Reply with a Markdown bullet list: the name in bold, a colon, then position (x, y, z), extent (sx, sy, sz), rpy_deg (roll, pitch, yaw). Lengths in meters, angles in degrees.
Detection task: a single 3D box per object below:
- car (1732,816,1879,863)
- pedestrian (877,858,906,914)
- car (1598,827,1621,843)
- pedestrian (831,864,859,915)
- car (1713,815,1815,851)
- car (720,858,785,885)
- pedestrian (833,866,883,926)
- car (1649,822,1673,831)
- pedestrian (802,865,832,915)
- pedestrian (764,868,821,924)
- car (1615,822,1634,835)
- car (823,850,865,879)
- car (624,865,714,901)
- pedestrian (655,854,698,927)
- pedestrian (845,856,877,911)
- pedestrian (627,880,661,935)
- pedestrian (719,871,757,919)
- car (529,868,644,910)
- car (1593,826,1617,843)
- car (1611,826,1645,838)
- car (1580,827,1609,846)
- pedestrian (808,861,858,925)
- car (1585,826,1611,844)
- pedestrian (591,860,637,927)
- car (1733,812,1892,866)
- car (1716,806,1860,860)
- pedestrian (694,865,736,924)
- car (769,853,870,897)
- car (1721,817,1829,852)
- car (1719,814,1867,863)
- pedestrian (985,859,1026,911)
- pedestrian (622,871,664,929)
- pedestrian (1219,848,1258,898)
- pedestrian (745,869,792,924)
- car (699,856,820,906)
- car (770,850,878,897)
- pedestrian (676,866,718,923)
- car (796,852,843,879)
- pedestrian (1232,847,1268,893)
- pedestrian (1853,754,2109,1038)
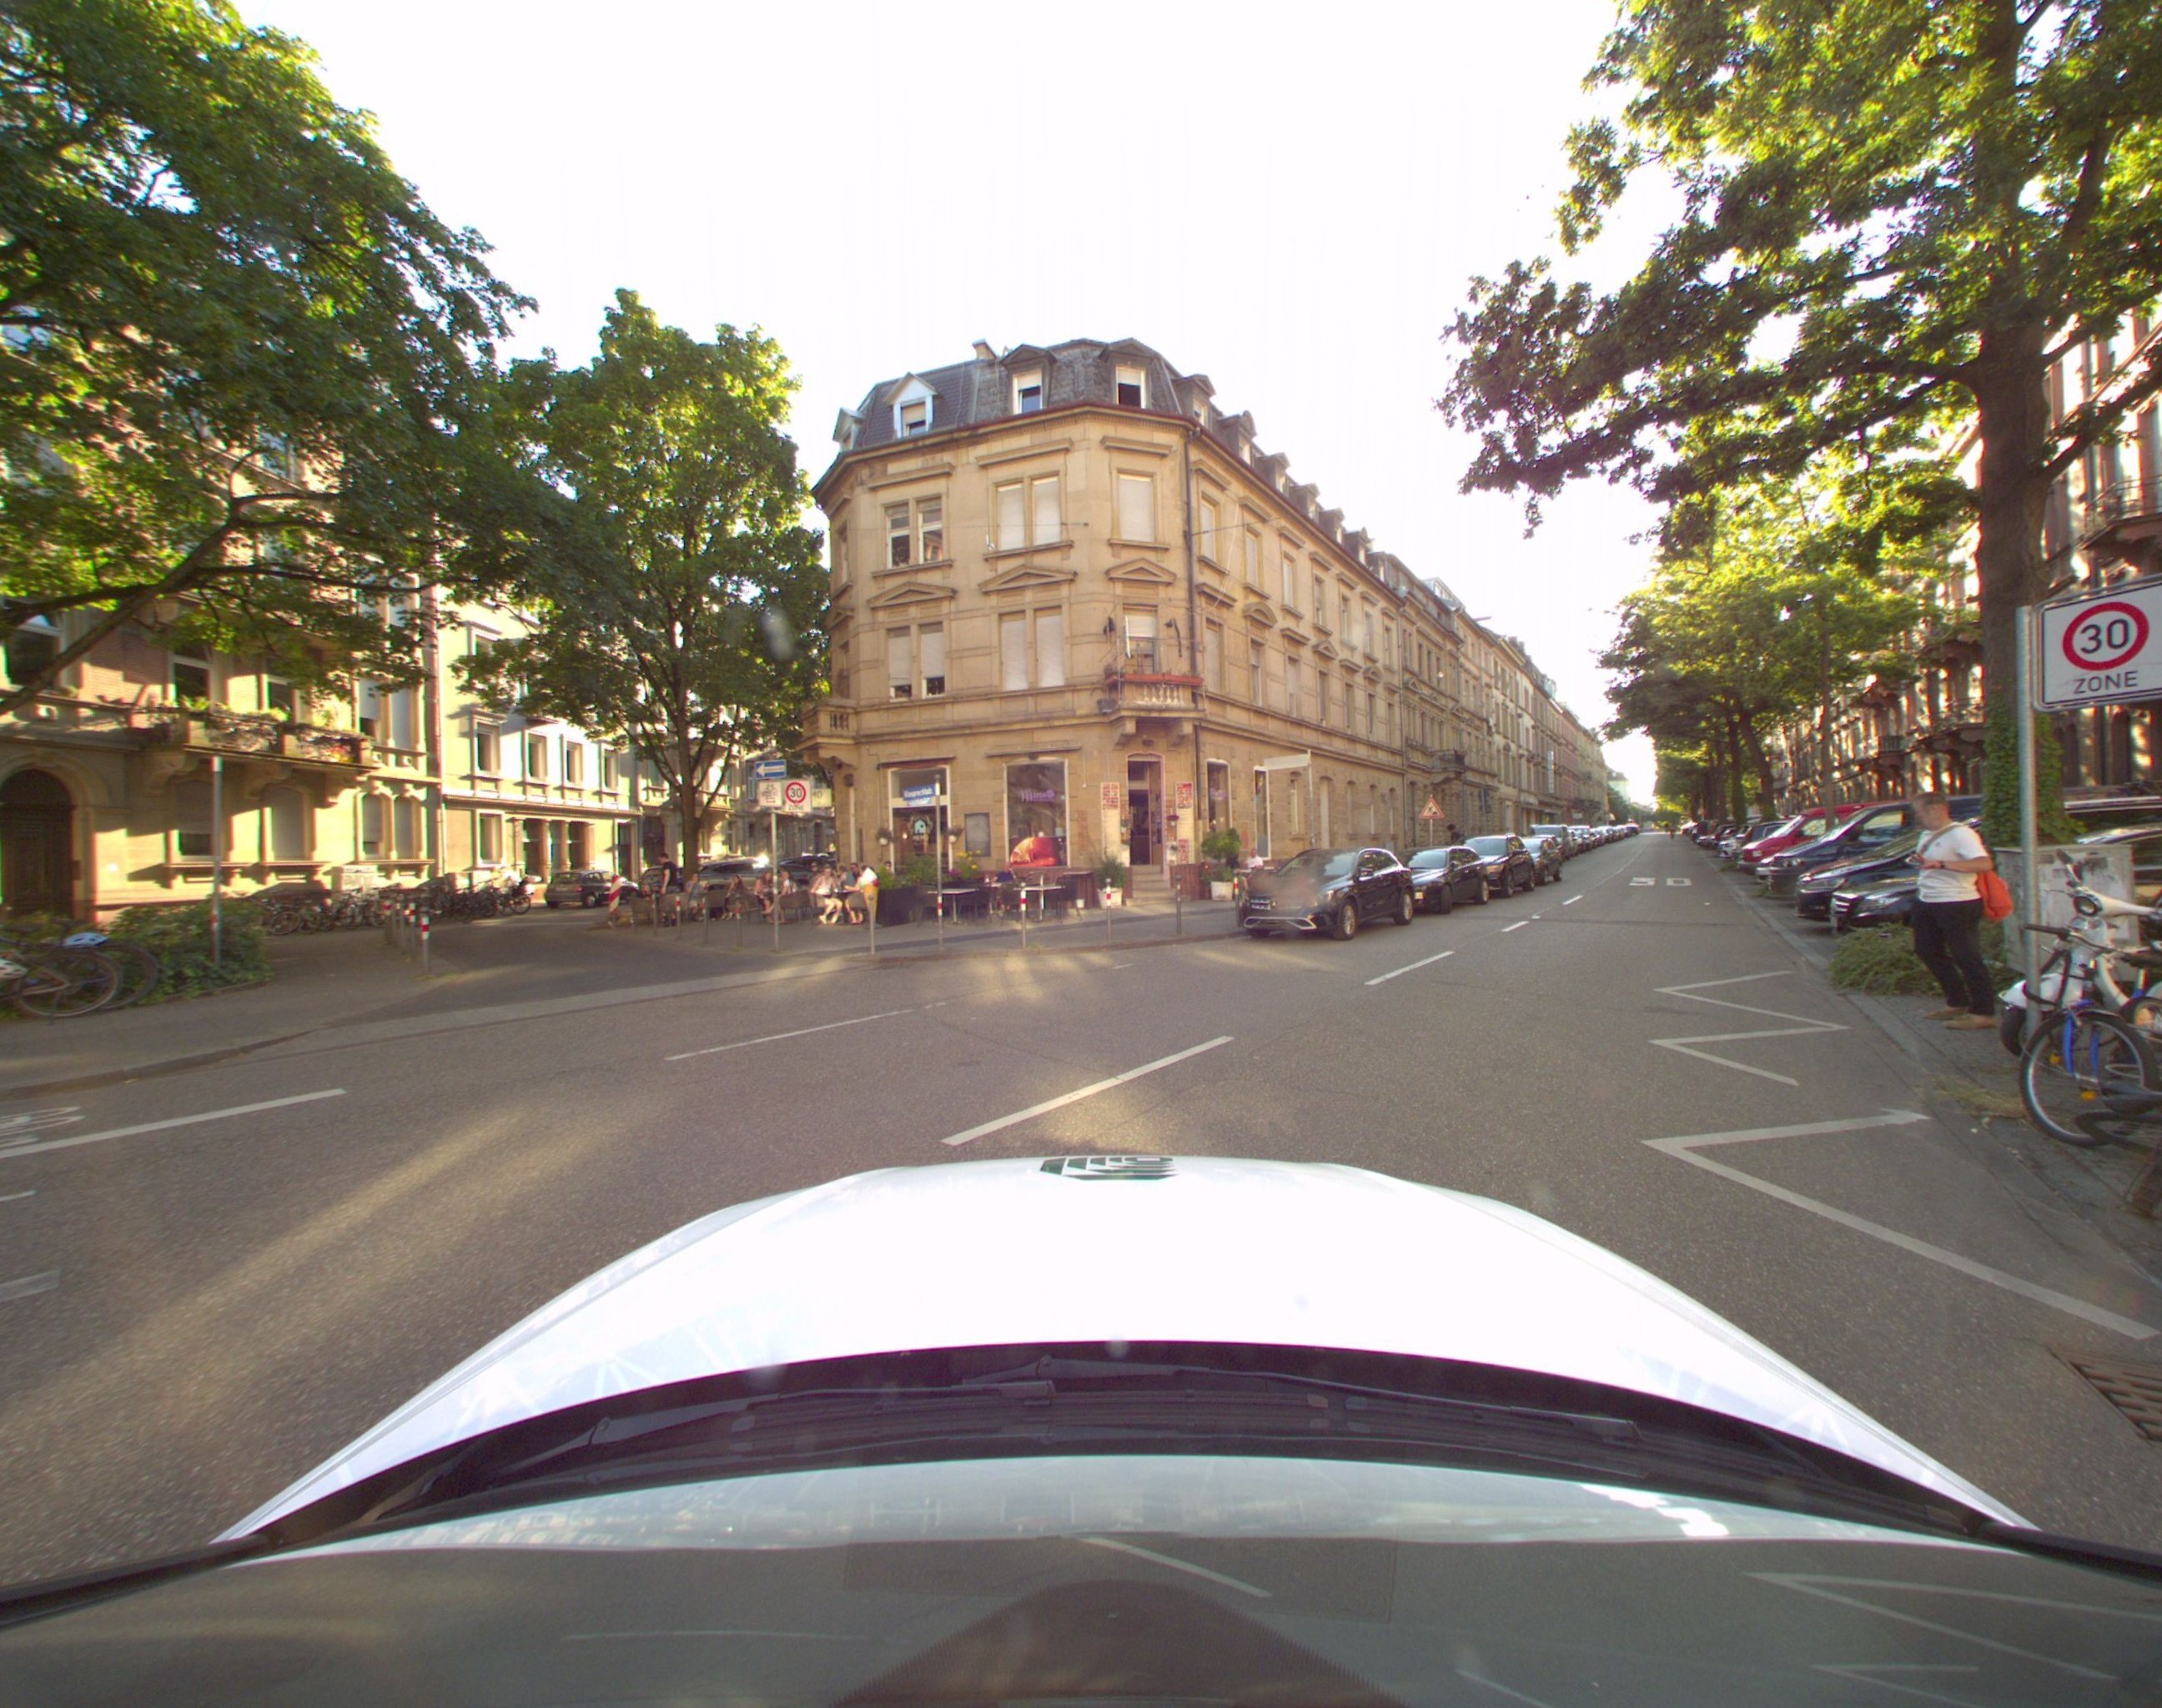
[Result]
- **car**: position (27.713, -0.519, 31.333), extent (3.971, 1.434, 1.806), rpy_deg (-5, -2, 36)
- **pedestrian**: position (-4.749, 0.801, 20.450), extent (0.476, 1.367, 0.436), rpy_deg (-2, 1, 28)
- **car**: position (52.245, -1.916, 80.489), extent (1.741, 1.473, 4.086), rpy_deg (-3, 0, 35)
- **pedestrian**: position (-6.000, 0.900, 20.727), extent (0.476, 1.248, 0.436), rpy_deg (-2, 1, 34)
- **car**: position (36.530, -1.083, 43.692), extent (3.971, 1.607, 1.745), rpy_deg (-4, -1, 36)
- **car**: position (-18.305, 0.934, 45.513), extent (1.915, 1.376, 3.754), rpy_deg (-2, 0, 3)
- **pedestrian**: position (-4.960, 0.921, 18.133), extent (0.736, 1.289, 0.747), rpy_deg (-2, 0, 27)
- **car**: position (120.916, -5.739, 169.810), extent (3.950, 1.859, 1.762), rpy_deg (-1, 1, 45)
- **pedestrian**: position (-6.864, 0.934, 21.184), extent (0.476, 1.248, 0.514), rpy_deg (-2, 1, 34)
- **pedestrian**: position (-6.780, 0.977, 19.132), extent (1.011, 1.248, 0.754), rpy_deg (-2, 1, 34)
- **car**: position (71.497, -3.318, 107.114), extent (1.974, 1.486, 4.025), rpy_deg (-2, -1, 35)
- **car**: position (-17.723, 0.755, 61.067), extent (1.799, 2.085, 3.754), rpy_deg (-2, 0, 3)
- **car**: position (-18.271, 1.244, 36.280), extent (1.915, 1.376, 3.754), rpy_deg (-2, 0, 3)
- **pedestrian**: position (-10.109, 0.904, 20.357), extent (0.771, 1.770, 0.565), rpy_deg (-3, -1, -41)
- **pedestrian**: position (-5.824, 0.774, 21.569), extent (0.562, 1.431, 0.485), rpy_deg (-2, 1, 26)
- **pedestrian**: position (-10.833, 1.312, 20.185), extent (0.575, 1.320, 0.499), rpy_deg (-3, 1, -43)
- **pedestrian**: position (-9.176, 1.102, 21.789), extent (0.681, 1.215, 0.660), rpy_deg (-3, -1, -43)
- **car**: position (-18.776, 1.304, 31.135), extent (1.915, 1.376, 3.754), rpy_deg (-2, 0, 3)
- **car**: position (49.337, -1.834, 76.670), extent (1.741, 1.473, 4.086), rpy_deg (-3, 0, 35)
- **car**: position (77.538, -3.102, 115.433), extent (4.002, 1.486, 1.985), rpy_deg (-1, -1, -22)
- **car**: position (42.695, -1.471, 67.667), extent (1.741, 1.473, 4.086), rpy_deg (-3, 0, 35)
- **pedestrian**: position (-5.660, 0.884, 18.584), extent (0.747, 1.411, 0.732), rpy_deg (-2, 0, 25)
- **car**: position (45.506, -1.661, 71.679), extent (1.741, 1.473, 4.086), rpy_deg (-3, 0, 35)
- **pedestrian**: position (-12.180, 1.032, 21.246), extent (0.659, 1.669, 0.772), rpy_deg (-4, -1, 35)
- **car**: position (26.208, -0.513, 29.375), extent (3.971, 1.628, 1.817), rpy_deg (-4, -1, 35)
- **car**: position (30.552, -0.887, 35.402), extent (4.400, 1.924, 1.862), rpy_deg (-5, 0, 34)
- **pedestrian**: position (-9.415, 1.032, 20.934), extent (0.771, 1.441, 0.660), rpy_deg (-3, -1, -41)
- **car**: position (-11.436, 0.873, 35.584), extent (4.006, 1.684, 1.984), rpy_deg (-2, 0, -24)
- **car**: position (35.187, -0.953, 41.453), extent (3.971, 1.467, 1.745), rpy_deg (-4, -1, 36)
- **car**: position (28.995, -0.628, 33.352), extent (4.301, 1.556, 1.862), rpy_deg (-5, 0, 36)
- **pedestrian**: position (-1.852, 0.759, 20.062), extent (0.719, 1.214, 0.760), rpy_deg (-2, 0, 17)
- **pedestrian**: position (-11.193, 1.163, 20.821), extent (0.771, 1.412, 0.660), rpy_deg (-3, -1, -40)
- **pedestrian**: position (4.155, 0.494, 21.508), extent (0.718, 1.259, 0.761), rpy_deg (-2, 0, 34)
- **pedestrian**: position (-7.531, 1.010, 19.624), extent (0.697, 1.248, 0.754), rpy_deg (-2, 1, 34)
- **car**: position (-11.612, 0.936, 29.412), extent (3.847, 1.562, 1.786), rpy_deg (-2, 0, -29)
- **car**: position (-10.349, 0.771, 33.121), extent (3.993, 1.684, 1.990), rpy_deg (-2, 0, -15)
- **pedestrian**: position (-10.186, 1.067, 21.603), extent (0.771, 1.441, 0.660), rpy_deg (-3, -1, -41)
- **car**: position (-17.830, 0.759, 55.776), extent (1.799, 1.684, 3.754), rpy_deg (-2, 0, 3)
- **pedestrian**: position (4.687, 0.439, 22.557), extent (0.718, 1.214, 0.761), rpy_deg (-2, 0, 34)
- **pedestrian**: position (6.652, 0.286, 6.116), extent (1.103, 1.898, 0.848), rpy_deg (-2, 0, 37)
